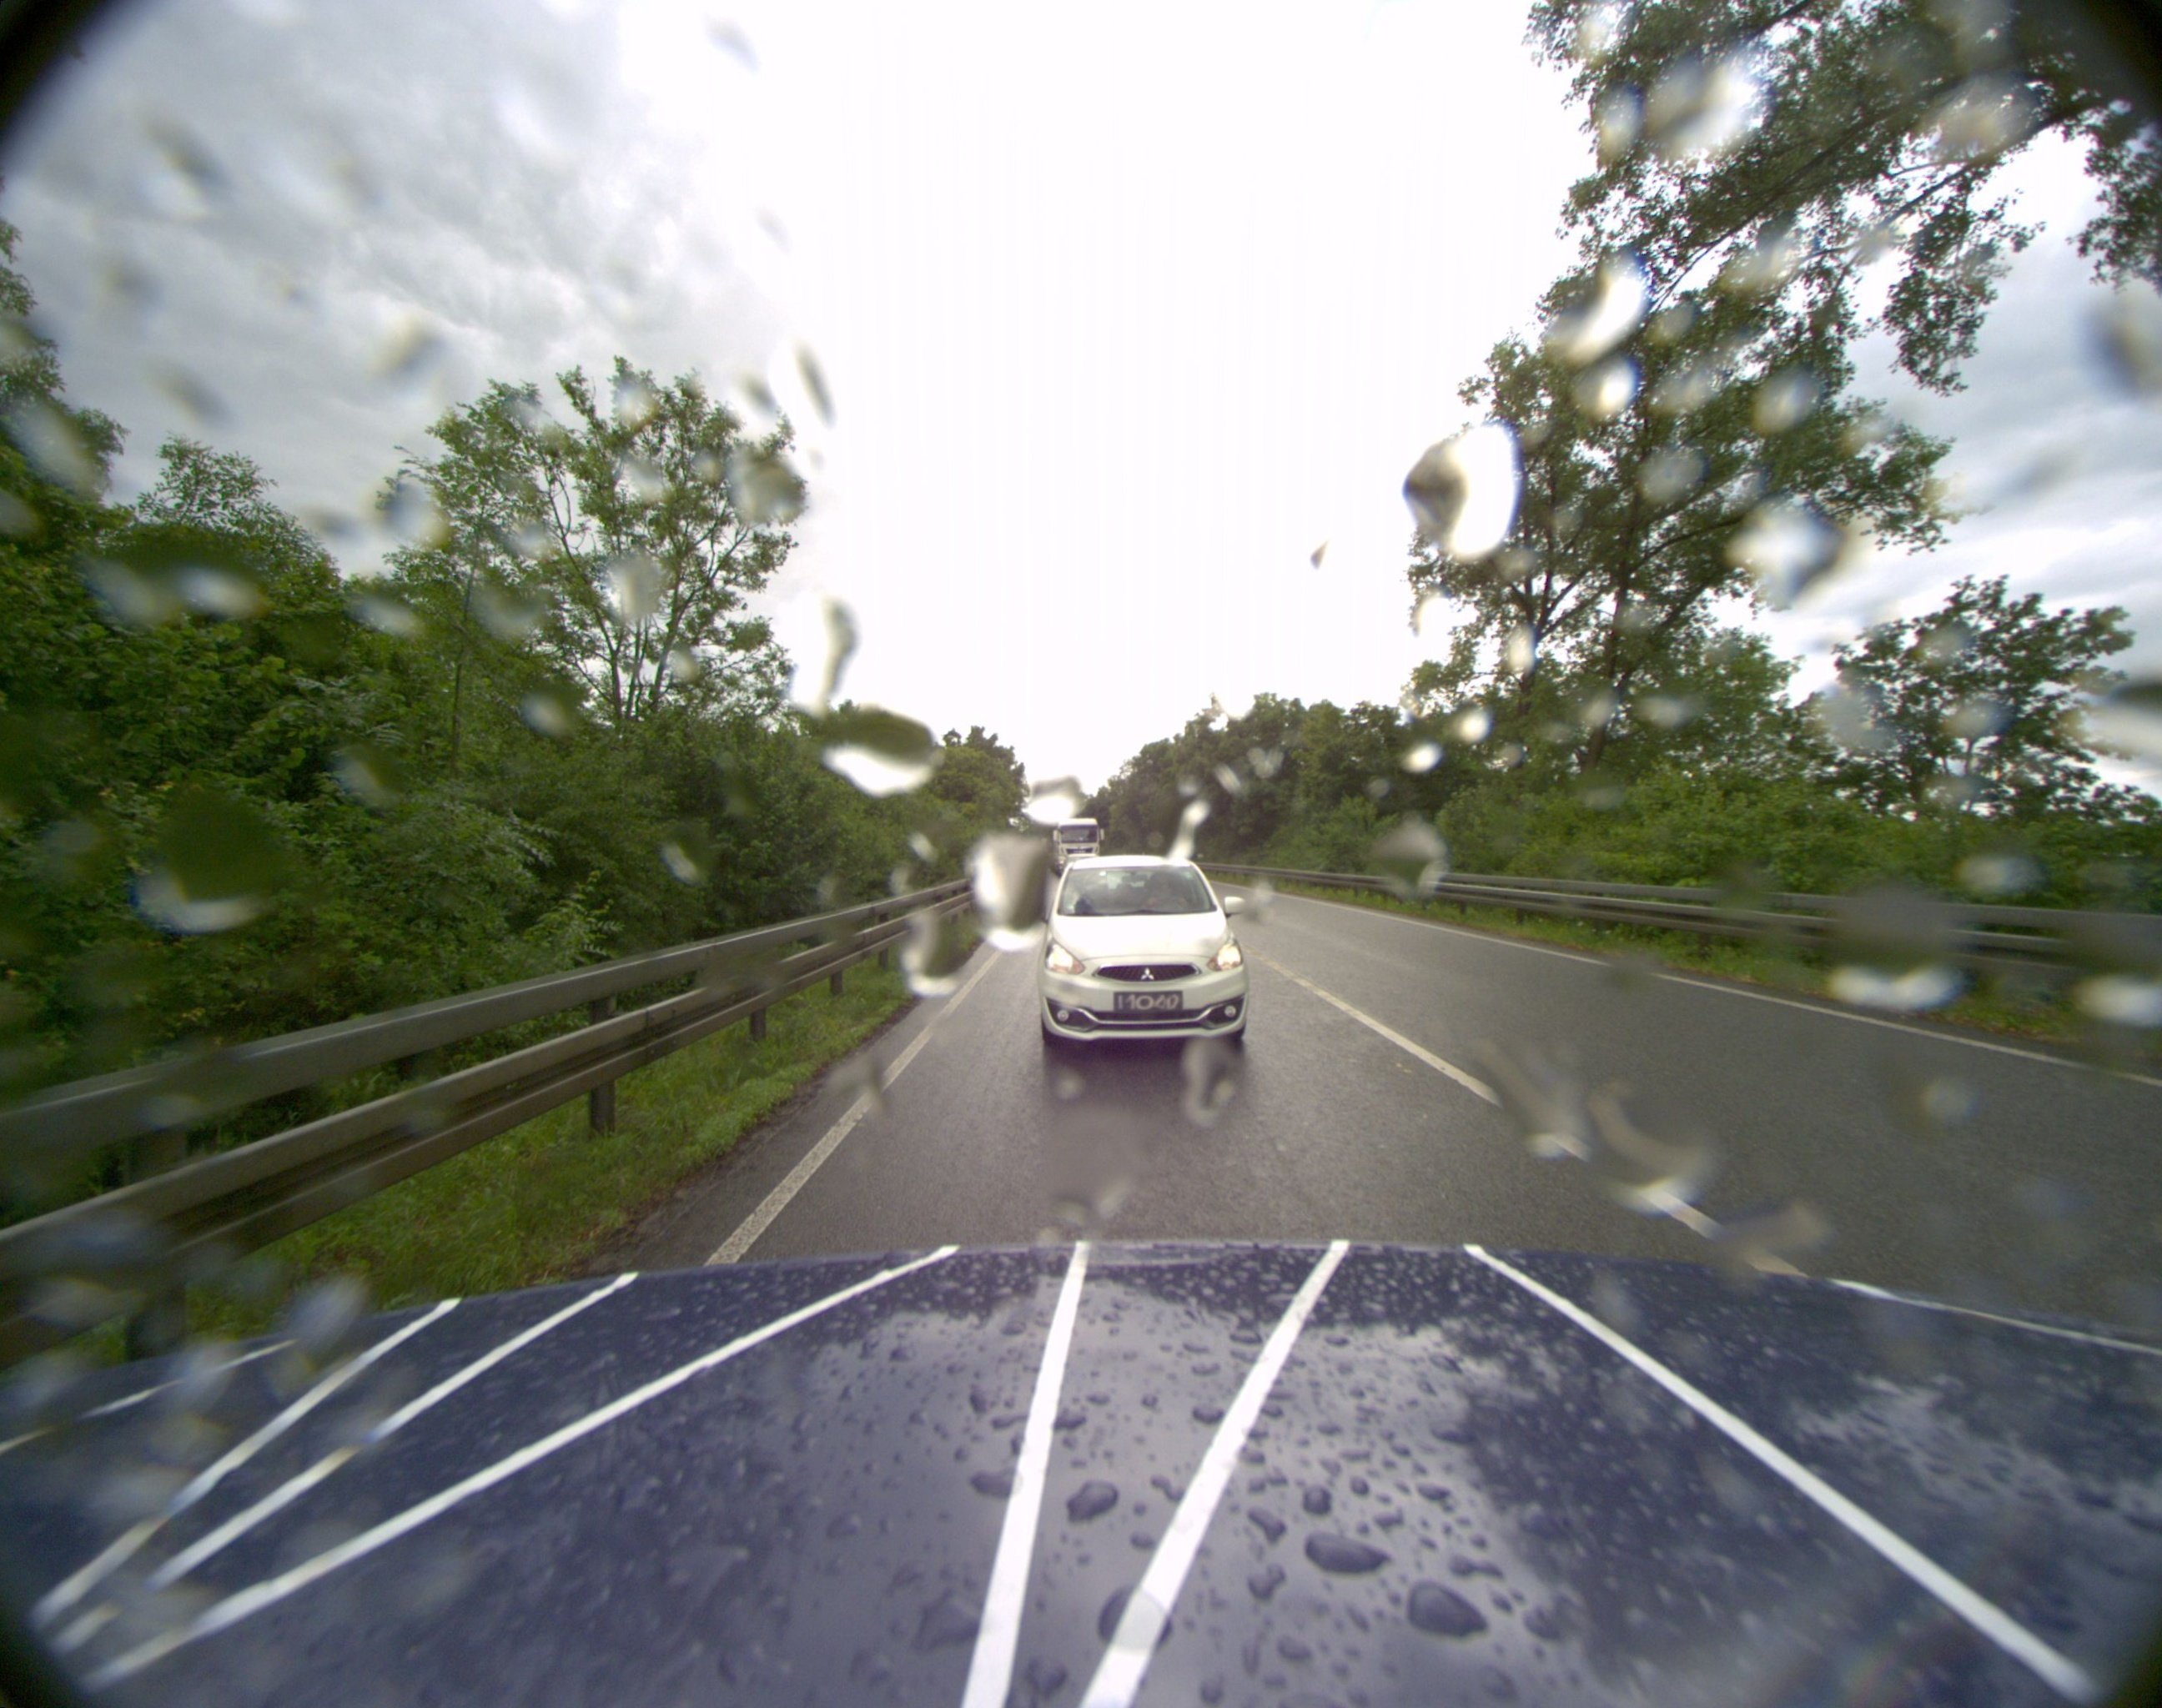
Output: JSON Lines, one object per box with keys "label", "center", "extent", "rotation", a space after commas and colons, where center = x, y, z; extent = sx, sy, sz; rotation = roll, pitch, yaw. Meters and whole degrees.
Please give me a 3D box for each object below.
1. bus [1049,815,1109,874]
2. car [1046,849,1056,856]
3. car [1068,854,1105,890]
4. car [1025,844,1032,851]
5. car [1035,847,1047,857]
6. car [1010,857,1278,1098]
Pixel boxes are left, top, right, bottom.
{"label": "bus", "center": [-0.404, -0.597, 51.587], "extent": [3.064, 3.405, 13.634], "rotation": [-2, 0, -4]}
{"label": "car", "center": [-5.438, -0.272, 137.755], "extent": [1.377, 1.281, 3.250], "rotation": [-2, 1, -10]}
{"label": "car", "center": [0.246, 0.726, 31.947], "extent": [1.475, 1.410, 3.429], "rotation": [-1, 0, 1]}
{"label": "car", "center": [-12.832, -1.529, 184.405], "extent": [1.421, 1.611, 3.476], "rotation": [-2, 0, -9]}
{"label": "car", "center": [-8.116, -0.404, 152.969], "extent": [2.000, 1.936, 3.996], "rotation": [-2, 1, -10]}
{"label": "car", "center": [0.453, 0.817, 6.977], "extent": [1.700, 1.471, 4.063], "rotation": [-2, 1, 1]}
